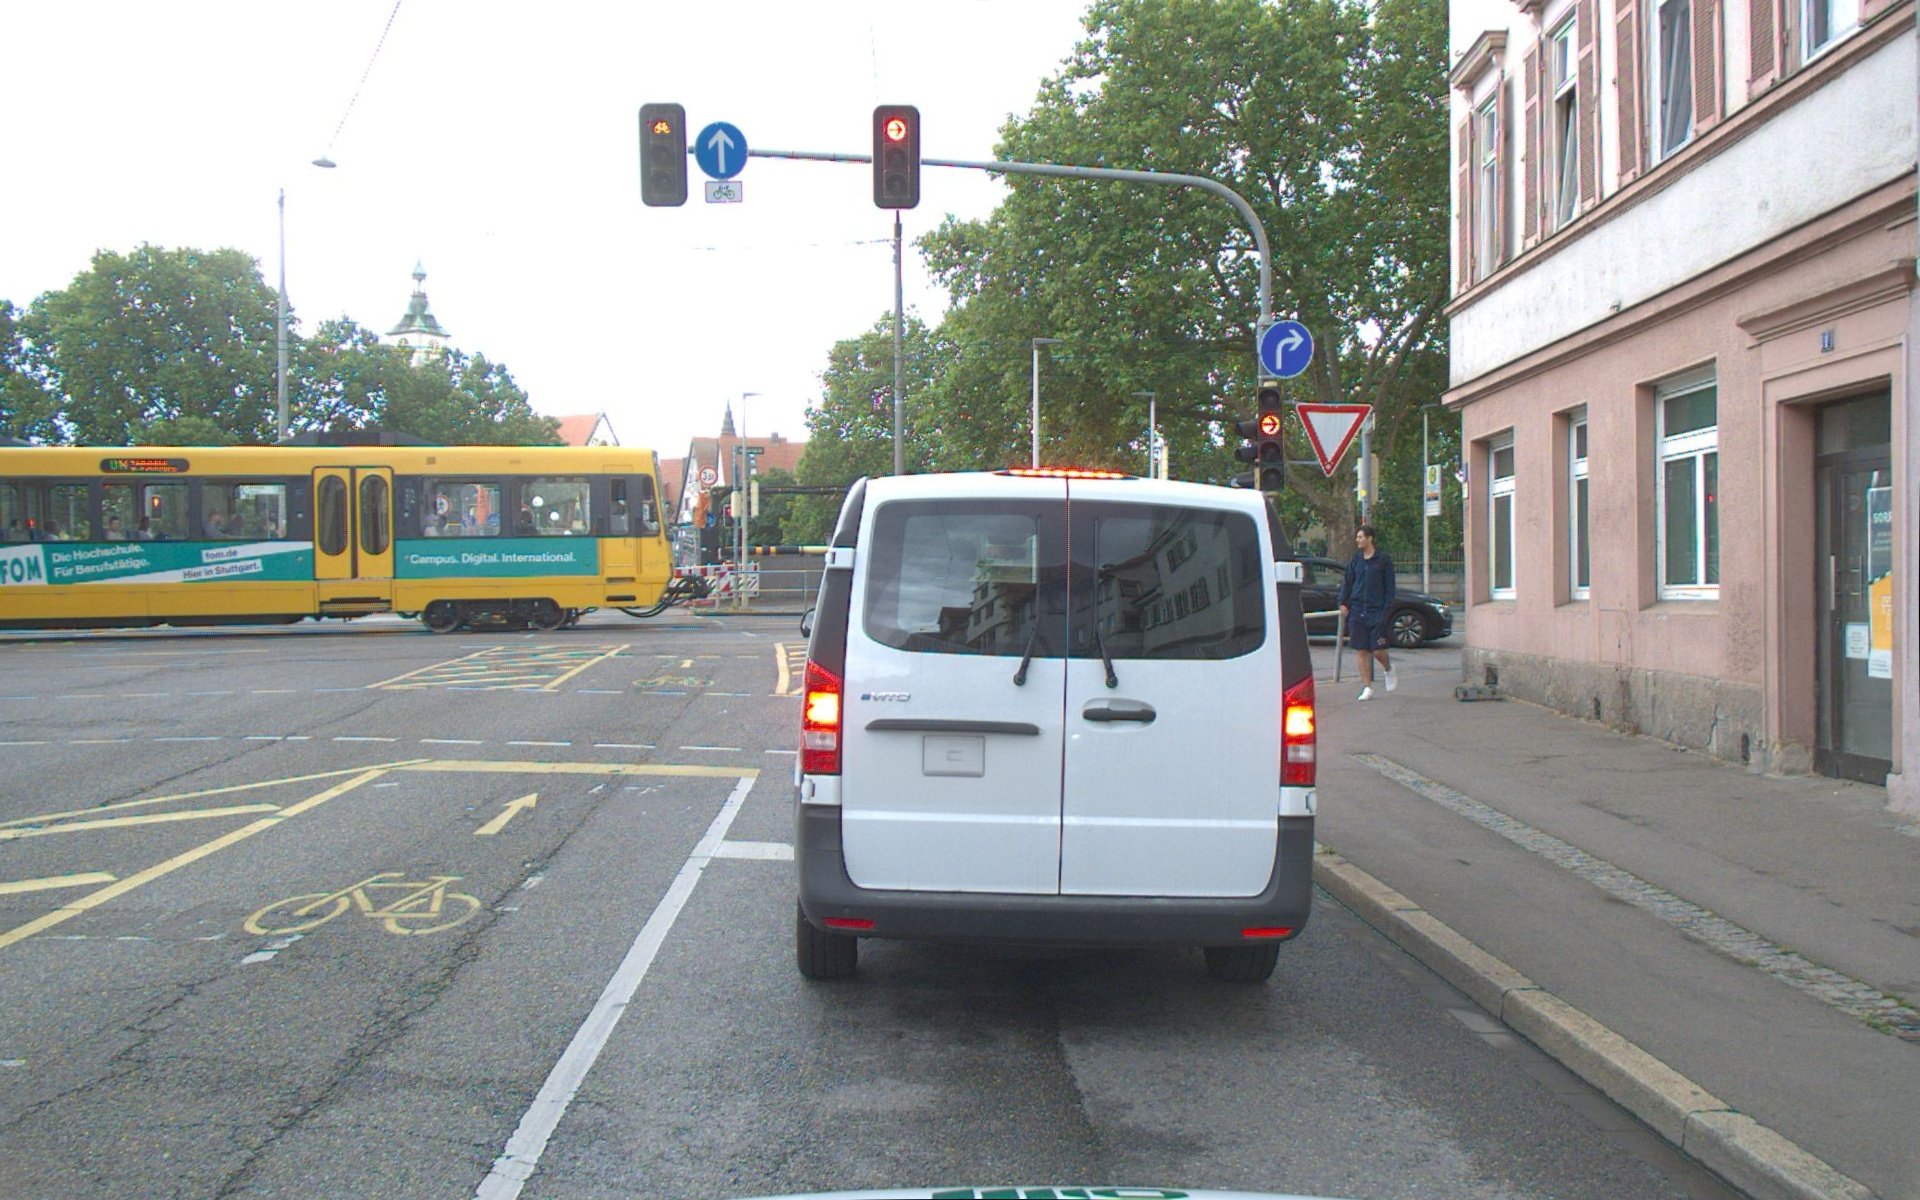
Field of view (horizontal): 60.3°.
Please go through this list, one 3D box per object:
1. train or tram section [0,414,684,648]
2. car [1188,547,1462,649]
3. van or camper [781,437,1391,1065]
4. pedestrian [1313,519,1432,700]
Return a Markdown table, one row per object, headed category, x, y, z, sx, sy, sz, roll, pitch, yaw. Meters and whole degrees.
| category | x | y | z | sx | sy | sz | roll | pitch | yaw |
| --- | --- | --- | --- | --- | --- | --- | --- | --- | --- |
| train or tram section | -14.661 | -1.348 | 31.262 | 18.442 | 4.072 | 3.256 | -2 | 3 | -12 |
| car | 6.027 | -0.058 | 27.681 | 4.184 | 1.602 | 1.872 | 0 | 2 | 1 |
| van or camper | 0.261 | 0.408 | 7.424 | 1.899 | 1.958 | 4.438 | 1 | 2 | -4 |
| pedestrian | 4.476 | 0.080 | 17.928 | 1.142 | 1.888 | 0.669 | -2 | 1 | -39 |
